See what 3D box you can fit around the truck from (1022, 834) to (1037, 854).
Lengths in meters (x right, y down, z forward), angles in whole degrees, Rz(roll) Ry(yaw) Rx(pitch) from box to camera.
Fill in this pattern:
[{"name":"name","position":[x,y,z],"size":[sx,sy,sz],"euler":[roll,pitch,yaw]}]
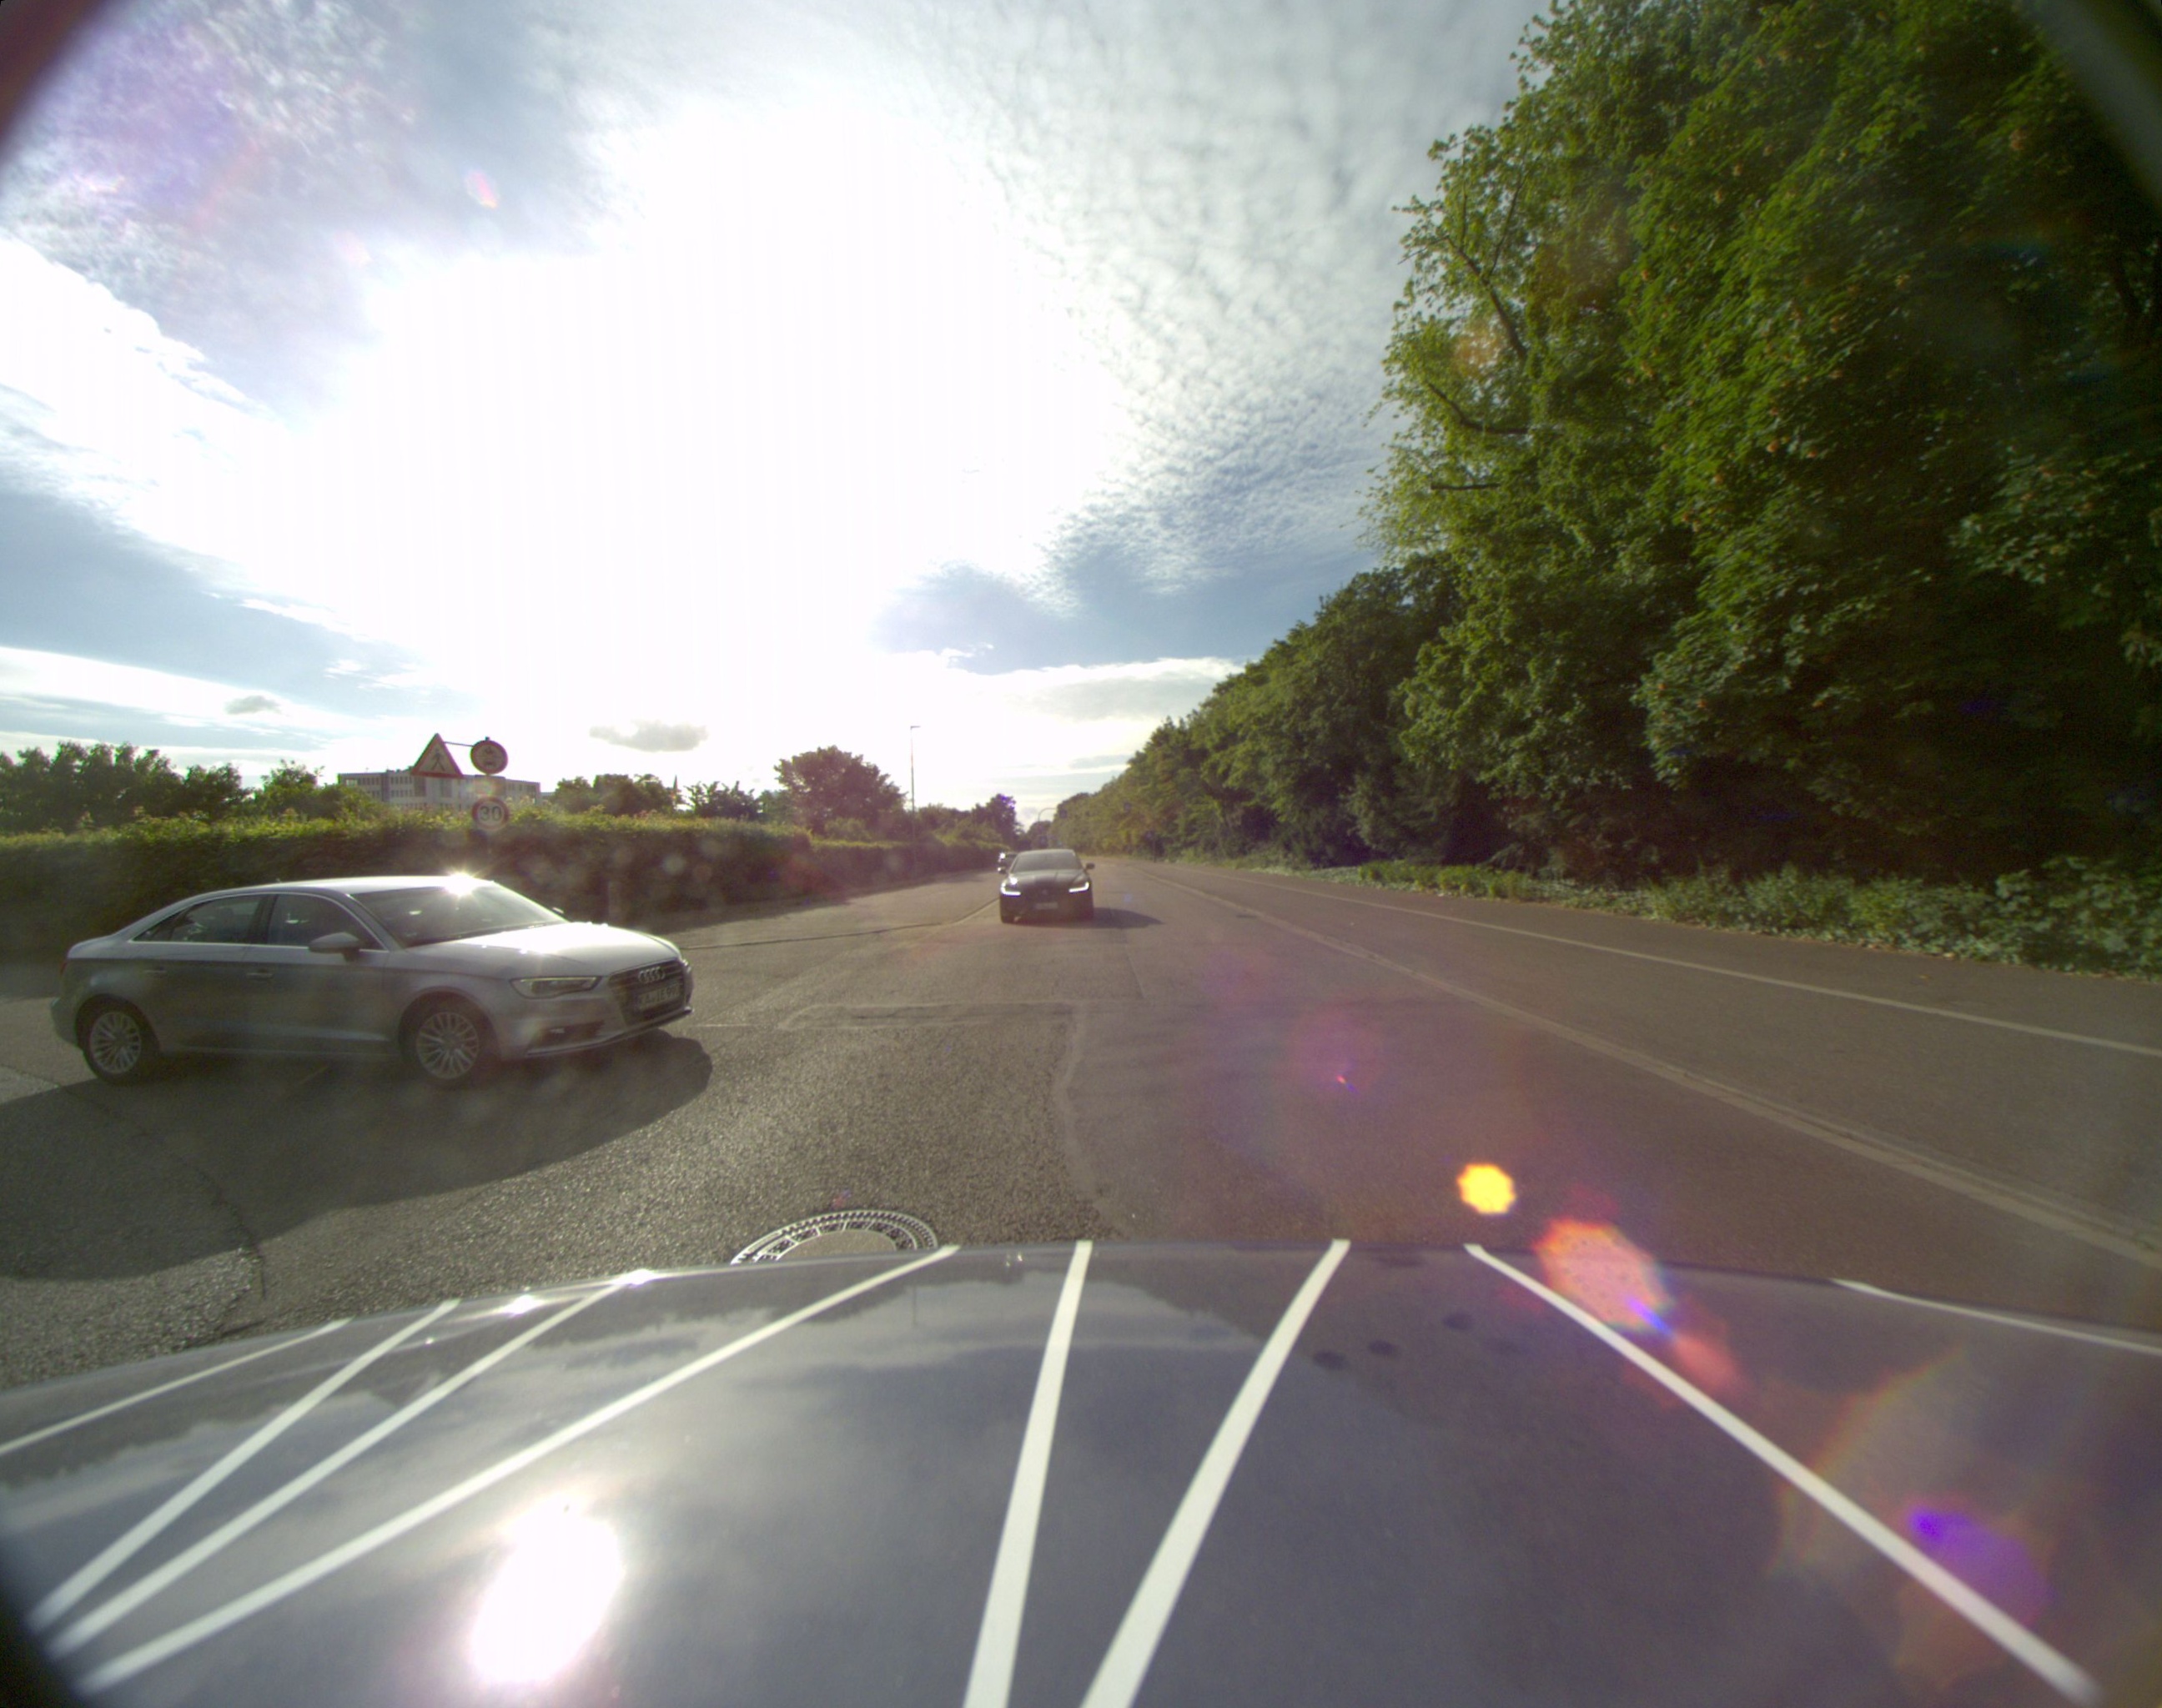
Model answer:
[{"name":"truck","position":[-10.333,-2.071,151.624],"size":[2.604,3.936,6.277],"euler":[0,1,-8]}]

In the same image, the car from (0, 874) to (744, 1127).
[{"name":"car","position":[-5.254,0.940,5.945],"size":[4.370,1.435,1.933],"euler":[0,3,8]}]

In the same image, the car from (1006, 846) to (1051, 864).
[{"name":"car","position":[-5.648,0.091,81.848],"size":[4.599,1.690,1.762],"euler":[-3,2,1]}]

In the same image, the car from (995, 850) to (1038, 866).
[{"name":"car","position":[-6.028,0.351,71.042],"size":[3.867,1.481,1.692],"euler":[-1,1,-1]}]

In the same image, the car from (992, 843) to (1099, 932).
[{"name":"car","position":[-0.708,0.601,16.790],"size":[1.936,1.501,4.678],"euler":[-4,2,-1]}]
